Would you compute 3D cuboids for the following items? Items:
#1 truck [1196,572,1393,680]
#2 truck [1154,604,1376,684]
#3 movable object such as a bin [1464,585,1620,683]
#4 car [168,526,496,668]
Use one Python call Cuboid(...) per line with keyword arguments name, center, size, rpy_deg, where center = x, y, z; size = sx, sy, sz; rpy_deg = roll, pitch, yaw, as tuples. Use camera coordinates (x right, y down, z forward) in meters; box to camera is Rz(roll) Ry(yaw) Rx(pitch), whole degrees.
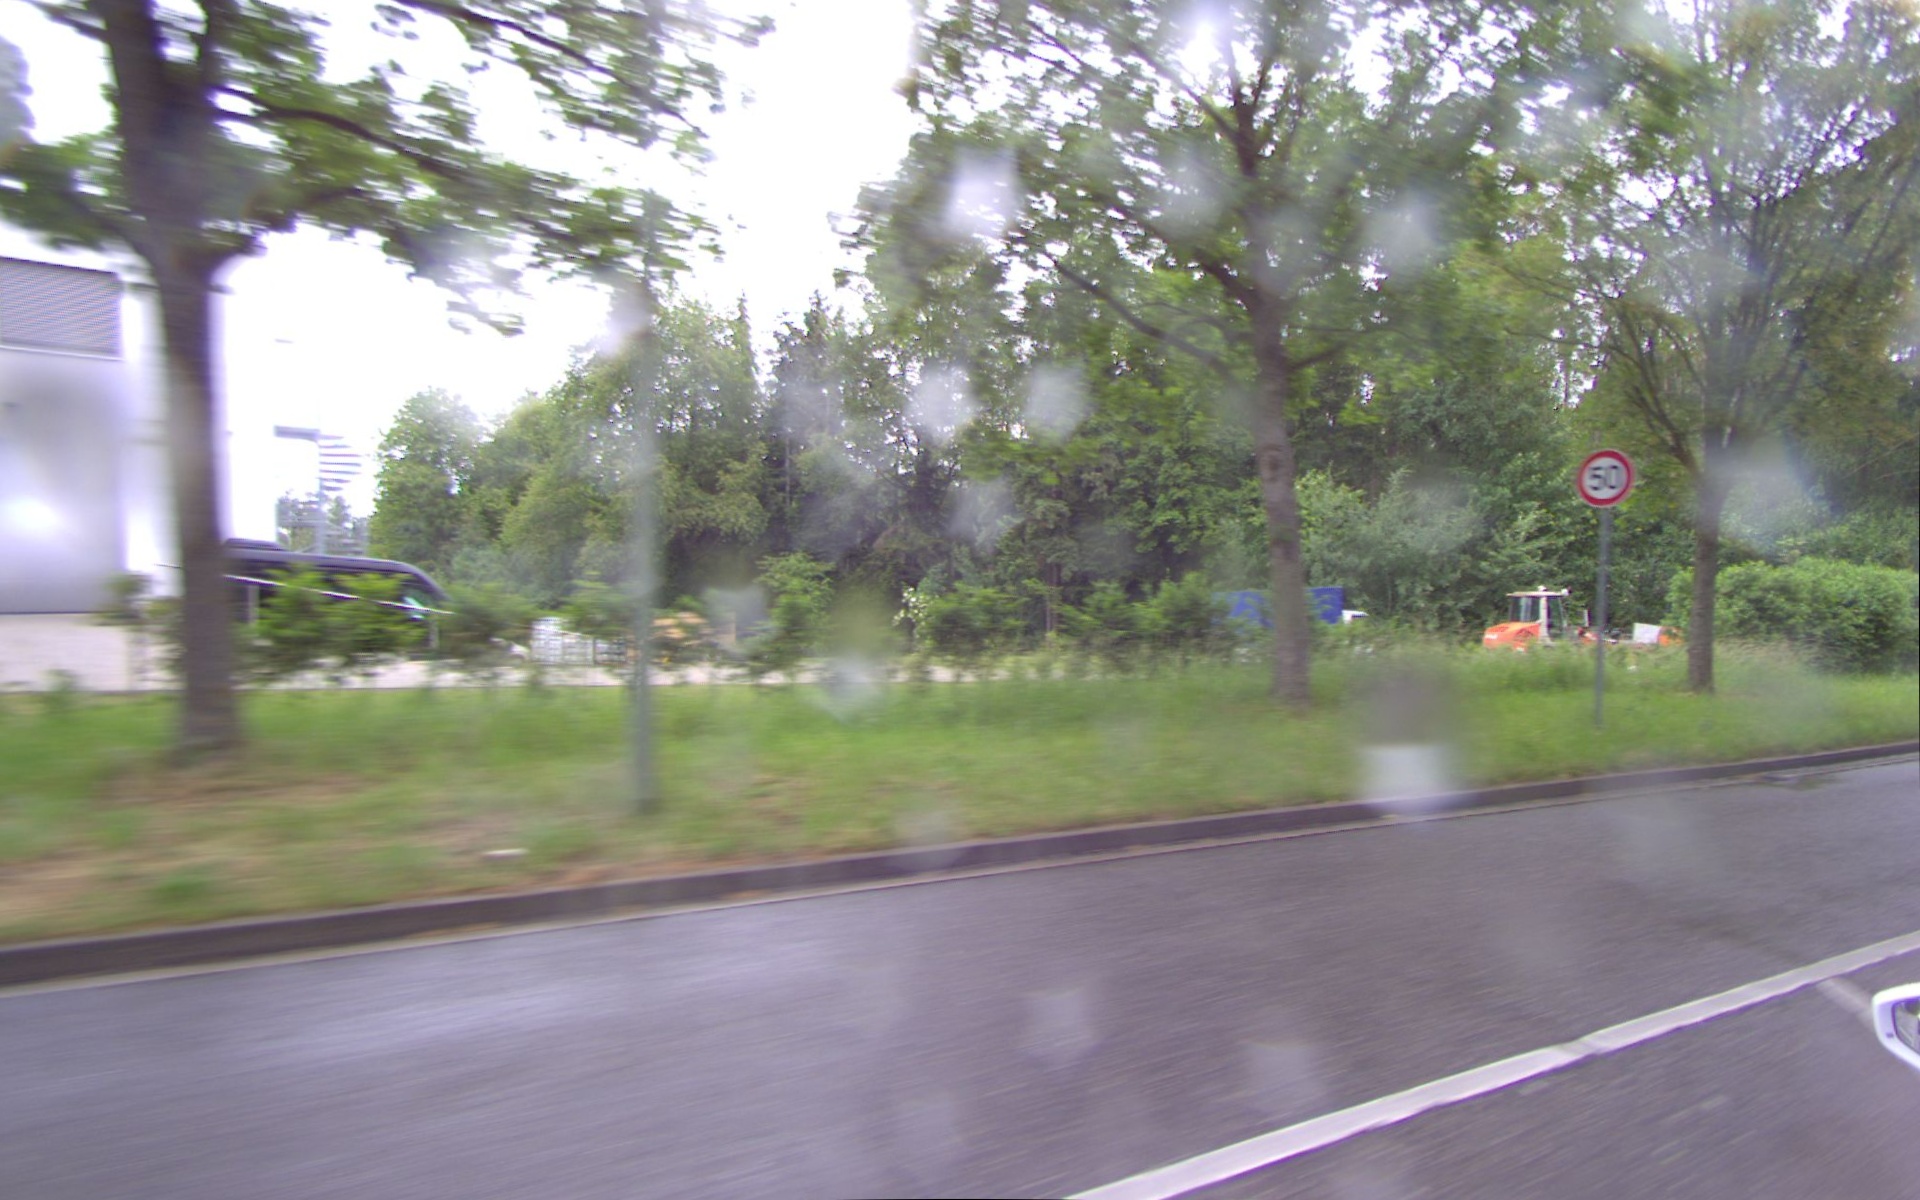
Cuboid(name="truck", center=(8.539, 0.573, 25.488), size=(5.167, 2.491, 1.981), rpy_deg=(0, 2, -34))
Cuboid(name="truck", center=(9.100, 1.274, 30.153), size=(6.127, 2.232, 1.996), rpy_deg=(0, 2, -10))
Cuboid(name="movable object such as a bin", center=(18.079, 1.028, 31.246), size=(3.935, 2.899, 1.993), rpy_deg=(1, 1, -16))
Cuboid(name="car", center=(-12.440, 0.024, 20.263), size=(5.178, 1.939, 1.894), rpy_deg=(11, -5, -33))
